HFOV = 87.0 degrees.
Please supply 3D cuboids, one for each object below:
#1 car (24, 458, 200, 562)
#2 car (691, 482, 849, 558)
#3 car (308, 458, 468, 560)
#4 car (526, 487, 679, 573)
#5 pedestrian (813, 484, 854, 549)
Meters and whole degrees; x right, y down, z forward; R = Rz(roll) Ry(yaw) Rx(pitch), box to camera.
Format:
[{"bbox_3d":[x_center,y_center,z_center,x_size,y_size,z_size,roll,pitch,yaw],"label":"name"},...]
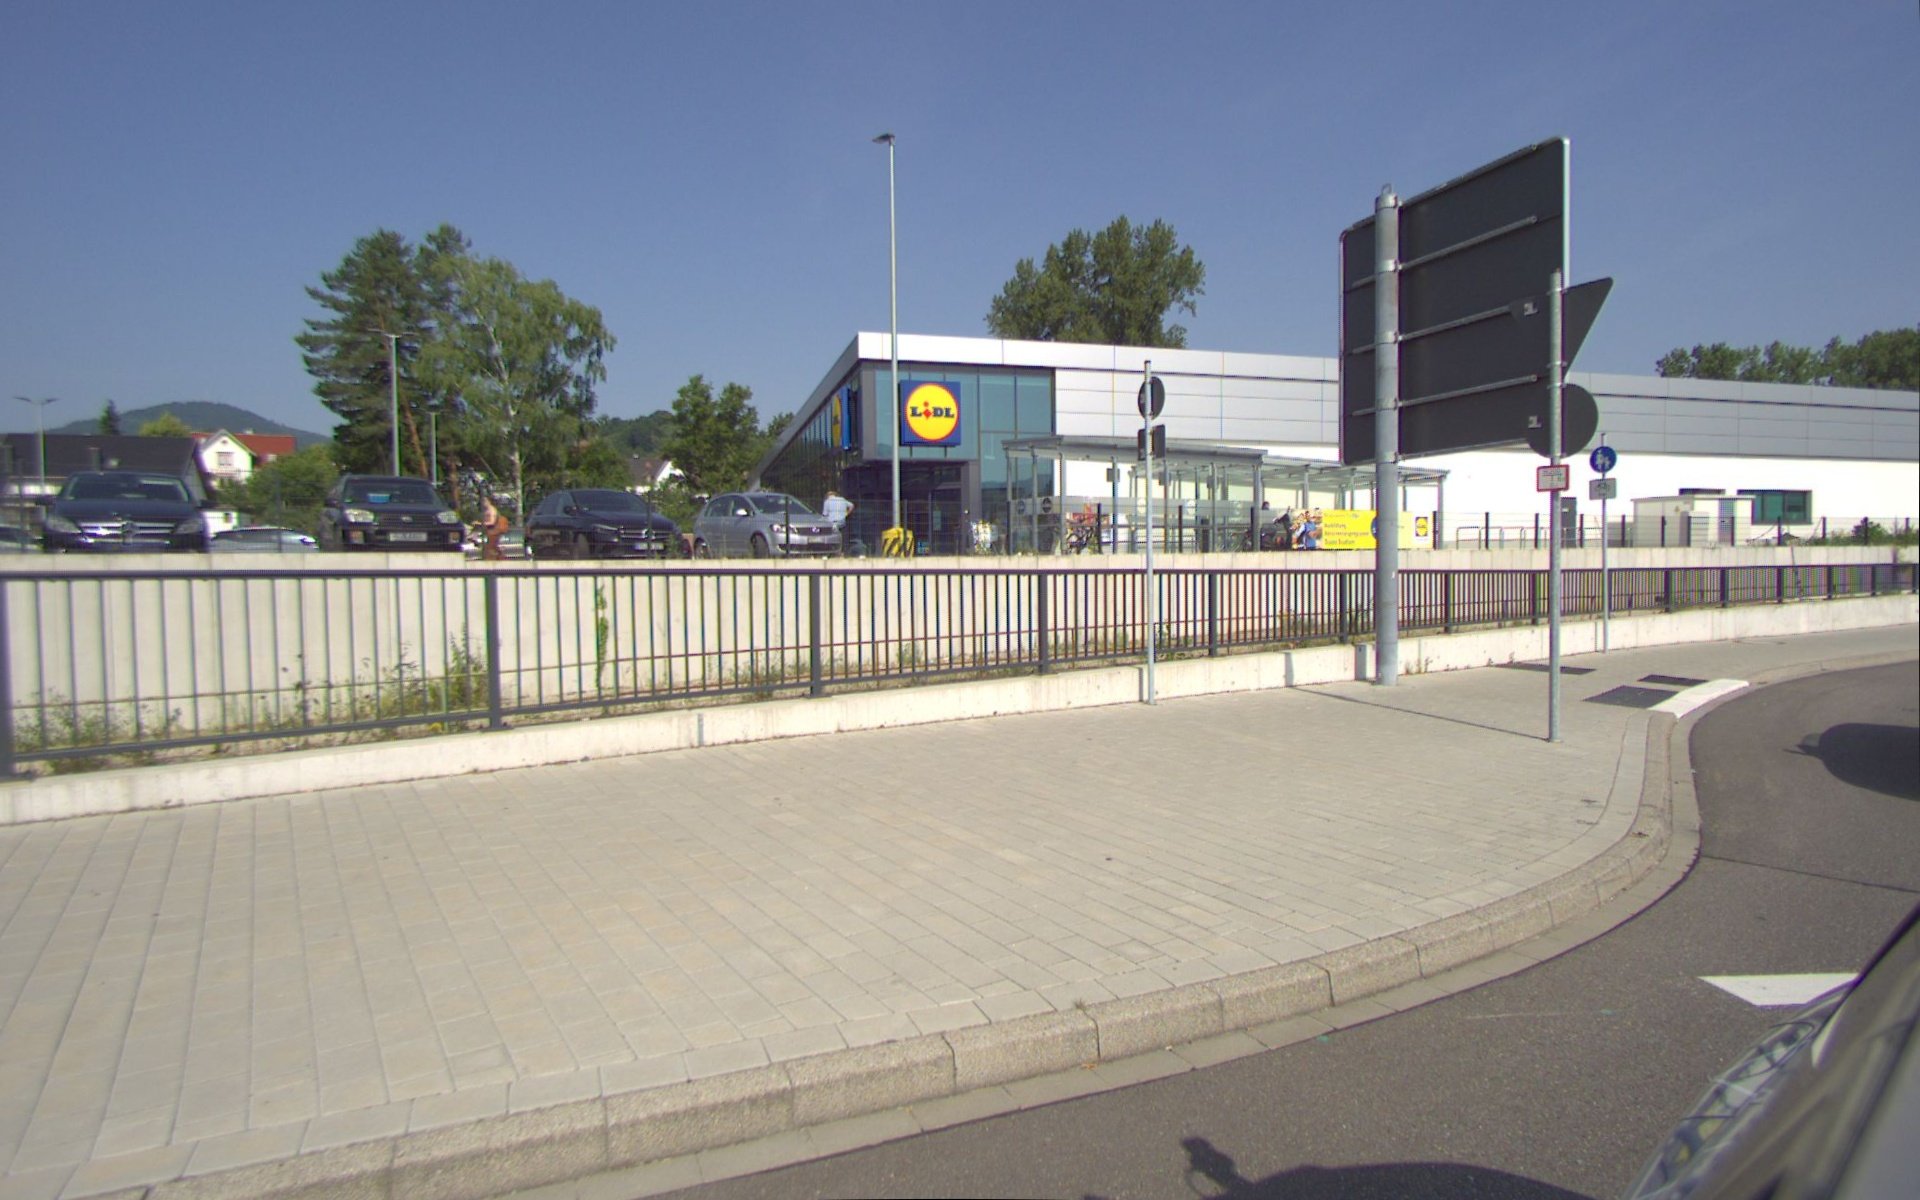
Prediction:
[{"bbox_3d":[-12.178,-1.199,14.718,1.712,1.261,4.224,-2,3,-38],"label":"car"},{"bbox_3d":[-4.007,-1.588,20.926,1.650,1.381,3.815,-2,2,-38],"label":"car"},{"bbox_3d":[-9.434,-1.381,16.548,1.694,1.421,4.016,-2,2,-38],"label":"car"},{"bbox_3d":[-6.696,-1.225,18.712,1.459,1.421,4.072,-2,2,-38],"label":"car"},{"bbox_3d":[-2.651,-1.744,21.278,0.644,1.328,0.549,-3,3,-36],"label":"pedestrian"}]
